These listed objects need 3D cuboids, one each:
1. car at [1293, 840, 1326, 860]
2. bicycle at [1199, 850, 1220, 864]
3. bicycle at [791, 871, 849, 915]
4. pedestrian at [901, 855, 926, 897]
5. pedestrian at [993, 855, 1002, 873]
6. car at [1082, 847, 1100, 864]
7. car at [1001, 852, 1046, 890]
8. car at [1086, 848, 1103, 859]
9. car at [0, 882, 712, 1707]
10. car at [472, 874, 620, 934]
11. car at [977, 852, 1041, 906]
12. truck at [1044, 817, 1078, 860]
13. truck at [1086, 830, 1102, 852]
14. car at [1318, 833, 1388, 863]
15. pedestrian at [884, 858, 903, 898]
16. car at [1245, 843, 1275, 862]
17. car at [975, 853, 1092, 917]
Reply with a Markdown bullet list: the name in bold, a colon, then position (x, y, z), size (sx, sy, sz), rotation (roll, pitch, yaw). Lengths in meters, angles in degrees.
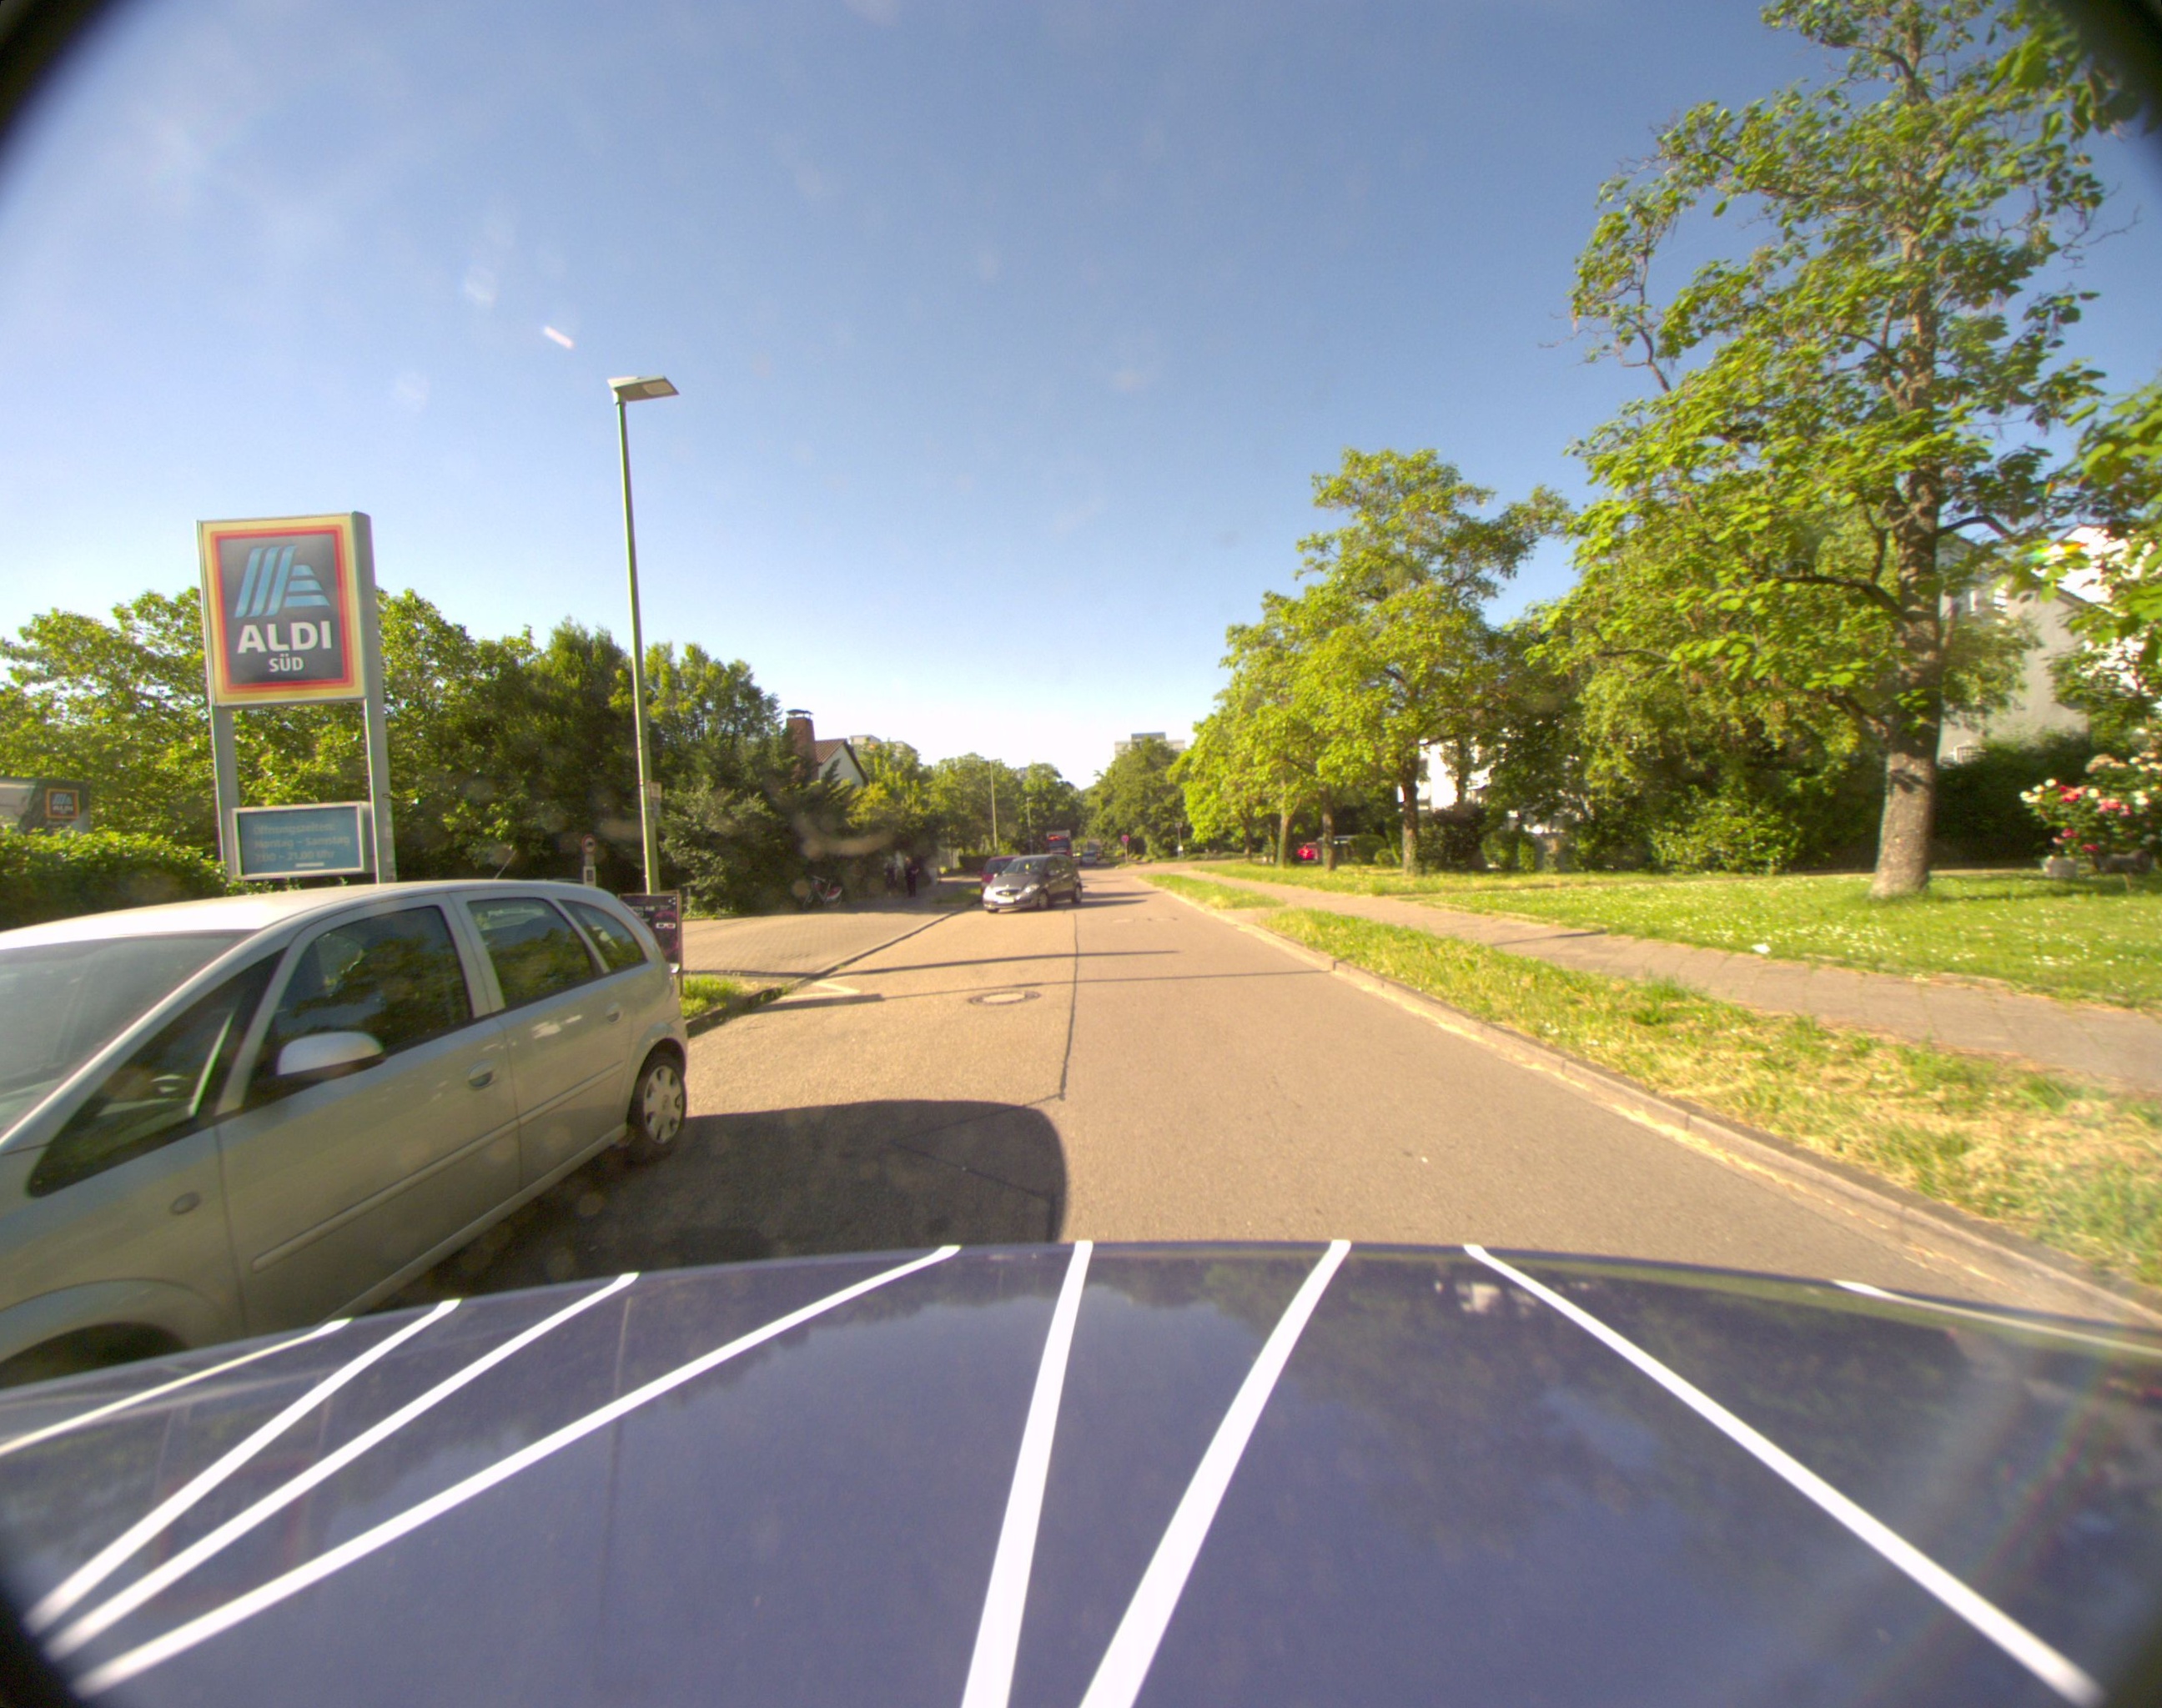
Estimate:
- **car**: position (19.772, -0.368, 65.942), size (1.674, 1.479, 3.884), rotation (-3, 2, 0)
- **bicycle**: position (11.971, 0.253, 70.857), size (1.902, 1.146, 0.760), rotation (-2, 4, 10)
- **bicycle**: position (-8.241, 1.211, 24.072), size (0.721, 1.214, 1.898), rotation (-1, 2, 16)
- **pedestrian**: position (-7.005, 0.901, 31.810), size (0.806, 1.707, 0.983), rotation (-1, 2, -3)
- **pedestrian**: position (-7.783, 0.954, 70.763), size (0.641, 1.629, 0.641), rotation (-3, 1, 3)
- **car**: position (1.165, 0.139, 84.438), size (1.844, 1.795, 4.029), rotation (-3, 1, 2)
- **car**: position (-2.690, 0.757, 36.466), size (1.729, 1.647, 4.352), rotation (-3, 0, 0)
- **car**: position (1.962, -0.115, 109.756), size (1.667, 1.458, 4.184), rotation (-2, 2, -9)
- **car**: position (-3.107, 1.074, 2.533), size (1.684, 1.590, 4.027), rotation (-6, 1, -1)
- **car**: position (-16.406, 1.479, 23.560), size (1.777, 1.494, 3.802), rotation (-3, 0, 1)
- **car**: position (-2.675, 0.897, 29.256), size (1.844, 1.795, 4.653), rotation (-3, 0, 1)
- **truck**: position (-2.086, -1.650, 84.851), size (3.166, 4.320, 10.582), rotation (-3, 1, 1)
- **truck**: position (2.549, -2.609, 149.249), size (2.803, 3.996, 9.622), rotation (-1, 2, -1)
- **car**: position (20.342, -0.432, 56.976), size (4.461, 1.957, 2.069), rotation (-2, 0, 3)
- **pedestrian**: position (-7.865, 0.991, 31.843), size (0.574, 1.600, 0.792), rotation (-1, 2, -3)
- **car**: position (15.828, -0.197, 67.439), size (1.674, 1.479, 3.884), rotation (-3, 2, 0)
- **car**: position (-1.315, 0.856, 22.684), size (1.852, 1.635, 3.761), rotation (-3, 0, 25)
